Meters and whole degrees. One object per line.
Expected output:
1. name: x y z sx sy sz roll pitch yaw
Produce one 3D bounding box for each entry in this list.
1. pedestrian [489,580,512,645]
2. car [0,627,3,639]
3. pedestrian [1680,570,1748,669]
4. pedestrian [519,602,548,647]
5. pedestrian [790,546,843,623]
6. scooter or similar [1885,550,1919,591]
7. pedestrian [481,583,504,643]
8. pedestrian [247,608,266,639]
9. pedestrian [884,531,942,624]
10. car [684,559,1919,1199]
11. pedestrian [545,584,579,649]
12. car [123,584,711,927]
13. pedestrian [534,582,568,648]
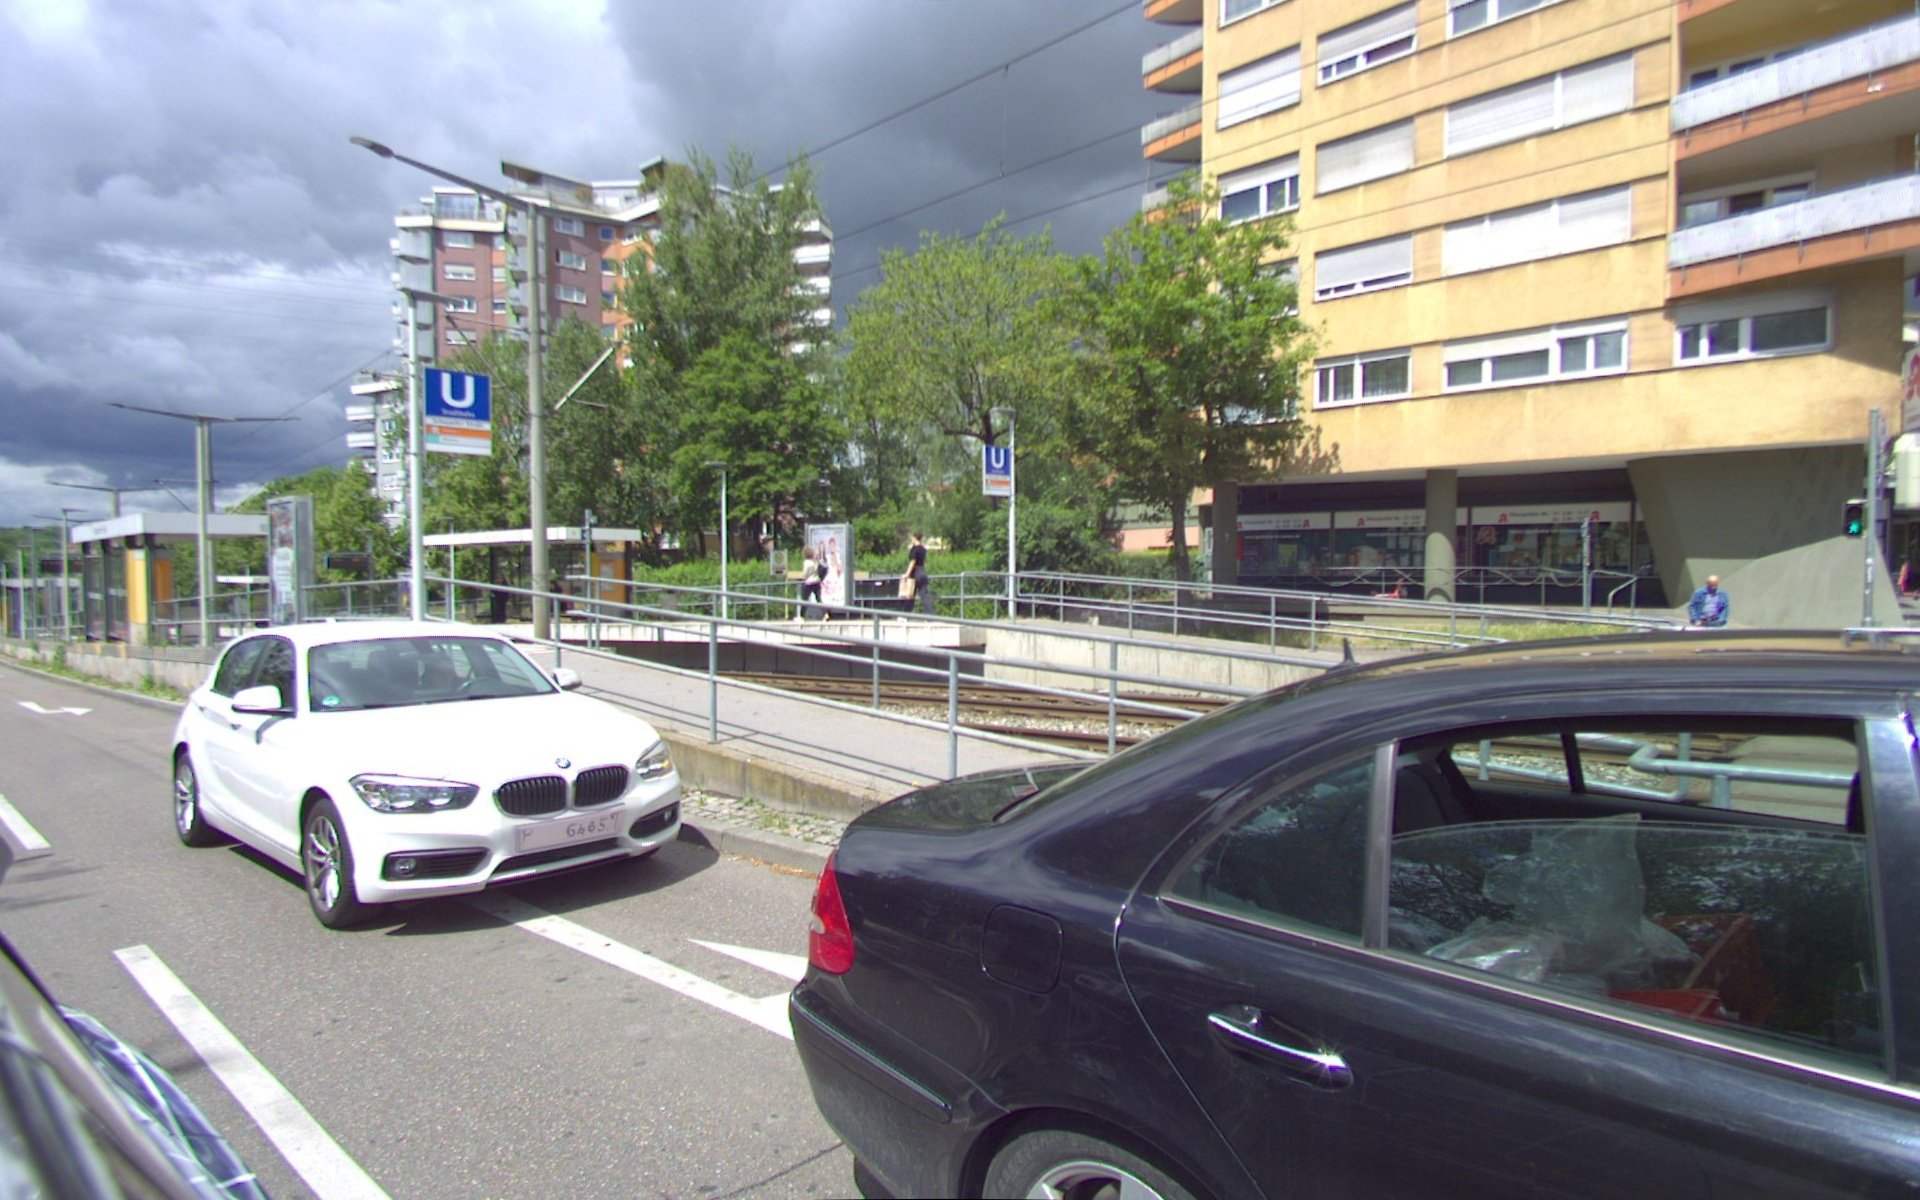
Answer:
1. pedestrian: -15.512 0.407 34.165 0.608 2.157 0.525 -1 0 44
2. car: -103.453 3.587 108.014 1.780 1.224 4.026 -1 0 -43
3. pedestrian: 12.974 0.327 17.425 0.909 1.609 0.712 -1 5 37
4. pedestrian: -13.655 0.772 32.398 0.658 1.425 0.637 -1 0 41
5. pedestrian: -3.078 -0.322 21.726 0.747 1.618 0.854 -1 0 40
6. scooter or similar: 26.380 -0.819 28.299 0.544 1.102 1.731 -1 0 36
7. pedestrian: -15.995 0.456 34.624 0.557 2.029 0.510 -1 0 41
8. pedestrian: -39.689 1.334 57.095 0.763 1.718 0.767 -1 0 -41
9. pedestrian: -0.930 -0.434 20.092 0.747 1.787 0.854 -1 0 40
10. car: 1.749 0.655 1.482 4.674 1.409 1.950 -1 0 42
11. pedestrian: -12.116 0.499 30.819 0.572 1.946 0.761 -1 0 39
12. car: -3.619 0.733 6.392 4.271 1.462 1.771 -1 -3 40
13. pedestrian: -12.747 0.455 31.547 0.584 2.029 0.770 -1 0 41
